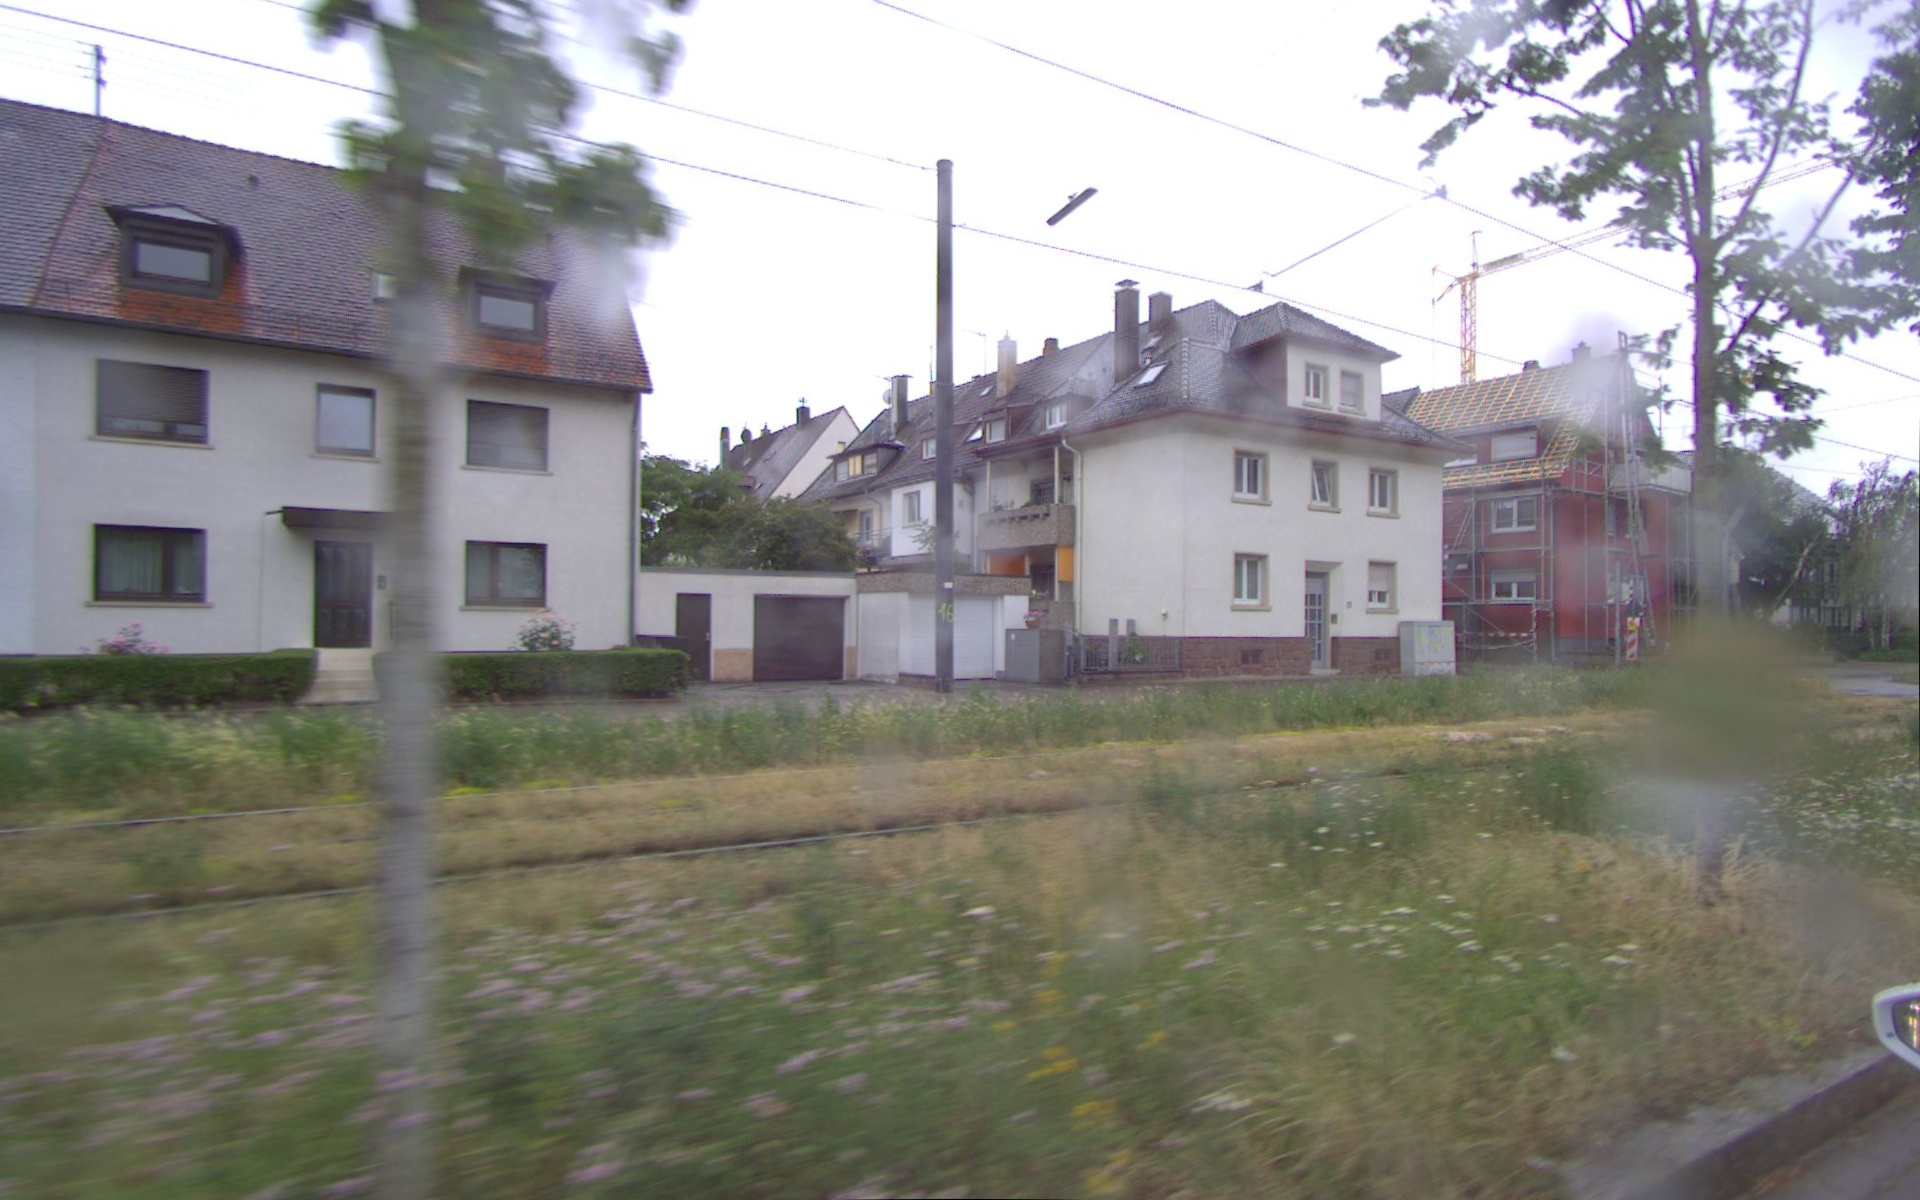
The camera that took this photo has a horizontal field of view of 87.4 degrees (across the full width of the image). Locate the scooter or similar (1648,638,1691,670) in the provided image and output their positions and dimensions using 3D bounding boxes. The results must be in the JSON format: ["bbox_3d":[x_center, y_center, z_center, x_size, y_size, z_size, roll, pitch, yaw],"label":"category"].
[{"bbox_3d":[25.871,1.955,36.623,1.257,1.144,0.441,0,-1,1],"label":"scooter or similar"}]

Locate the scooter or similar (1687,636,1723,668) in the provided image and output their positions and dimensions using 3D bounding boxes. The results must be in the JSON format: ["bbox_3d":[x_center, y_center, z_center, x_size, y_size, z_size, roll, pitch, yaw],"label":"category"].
[{"bbox_3d":[28.431,1.969,38.330,1.261,1.196,0.394,1,-1,-14],"label":"scooter or similar"}]
